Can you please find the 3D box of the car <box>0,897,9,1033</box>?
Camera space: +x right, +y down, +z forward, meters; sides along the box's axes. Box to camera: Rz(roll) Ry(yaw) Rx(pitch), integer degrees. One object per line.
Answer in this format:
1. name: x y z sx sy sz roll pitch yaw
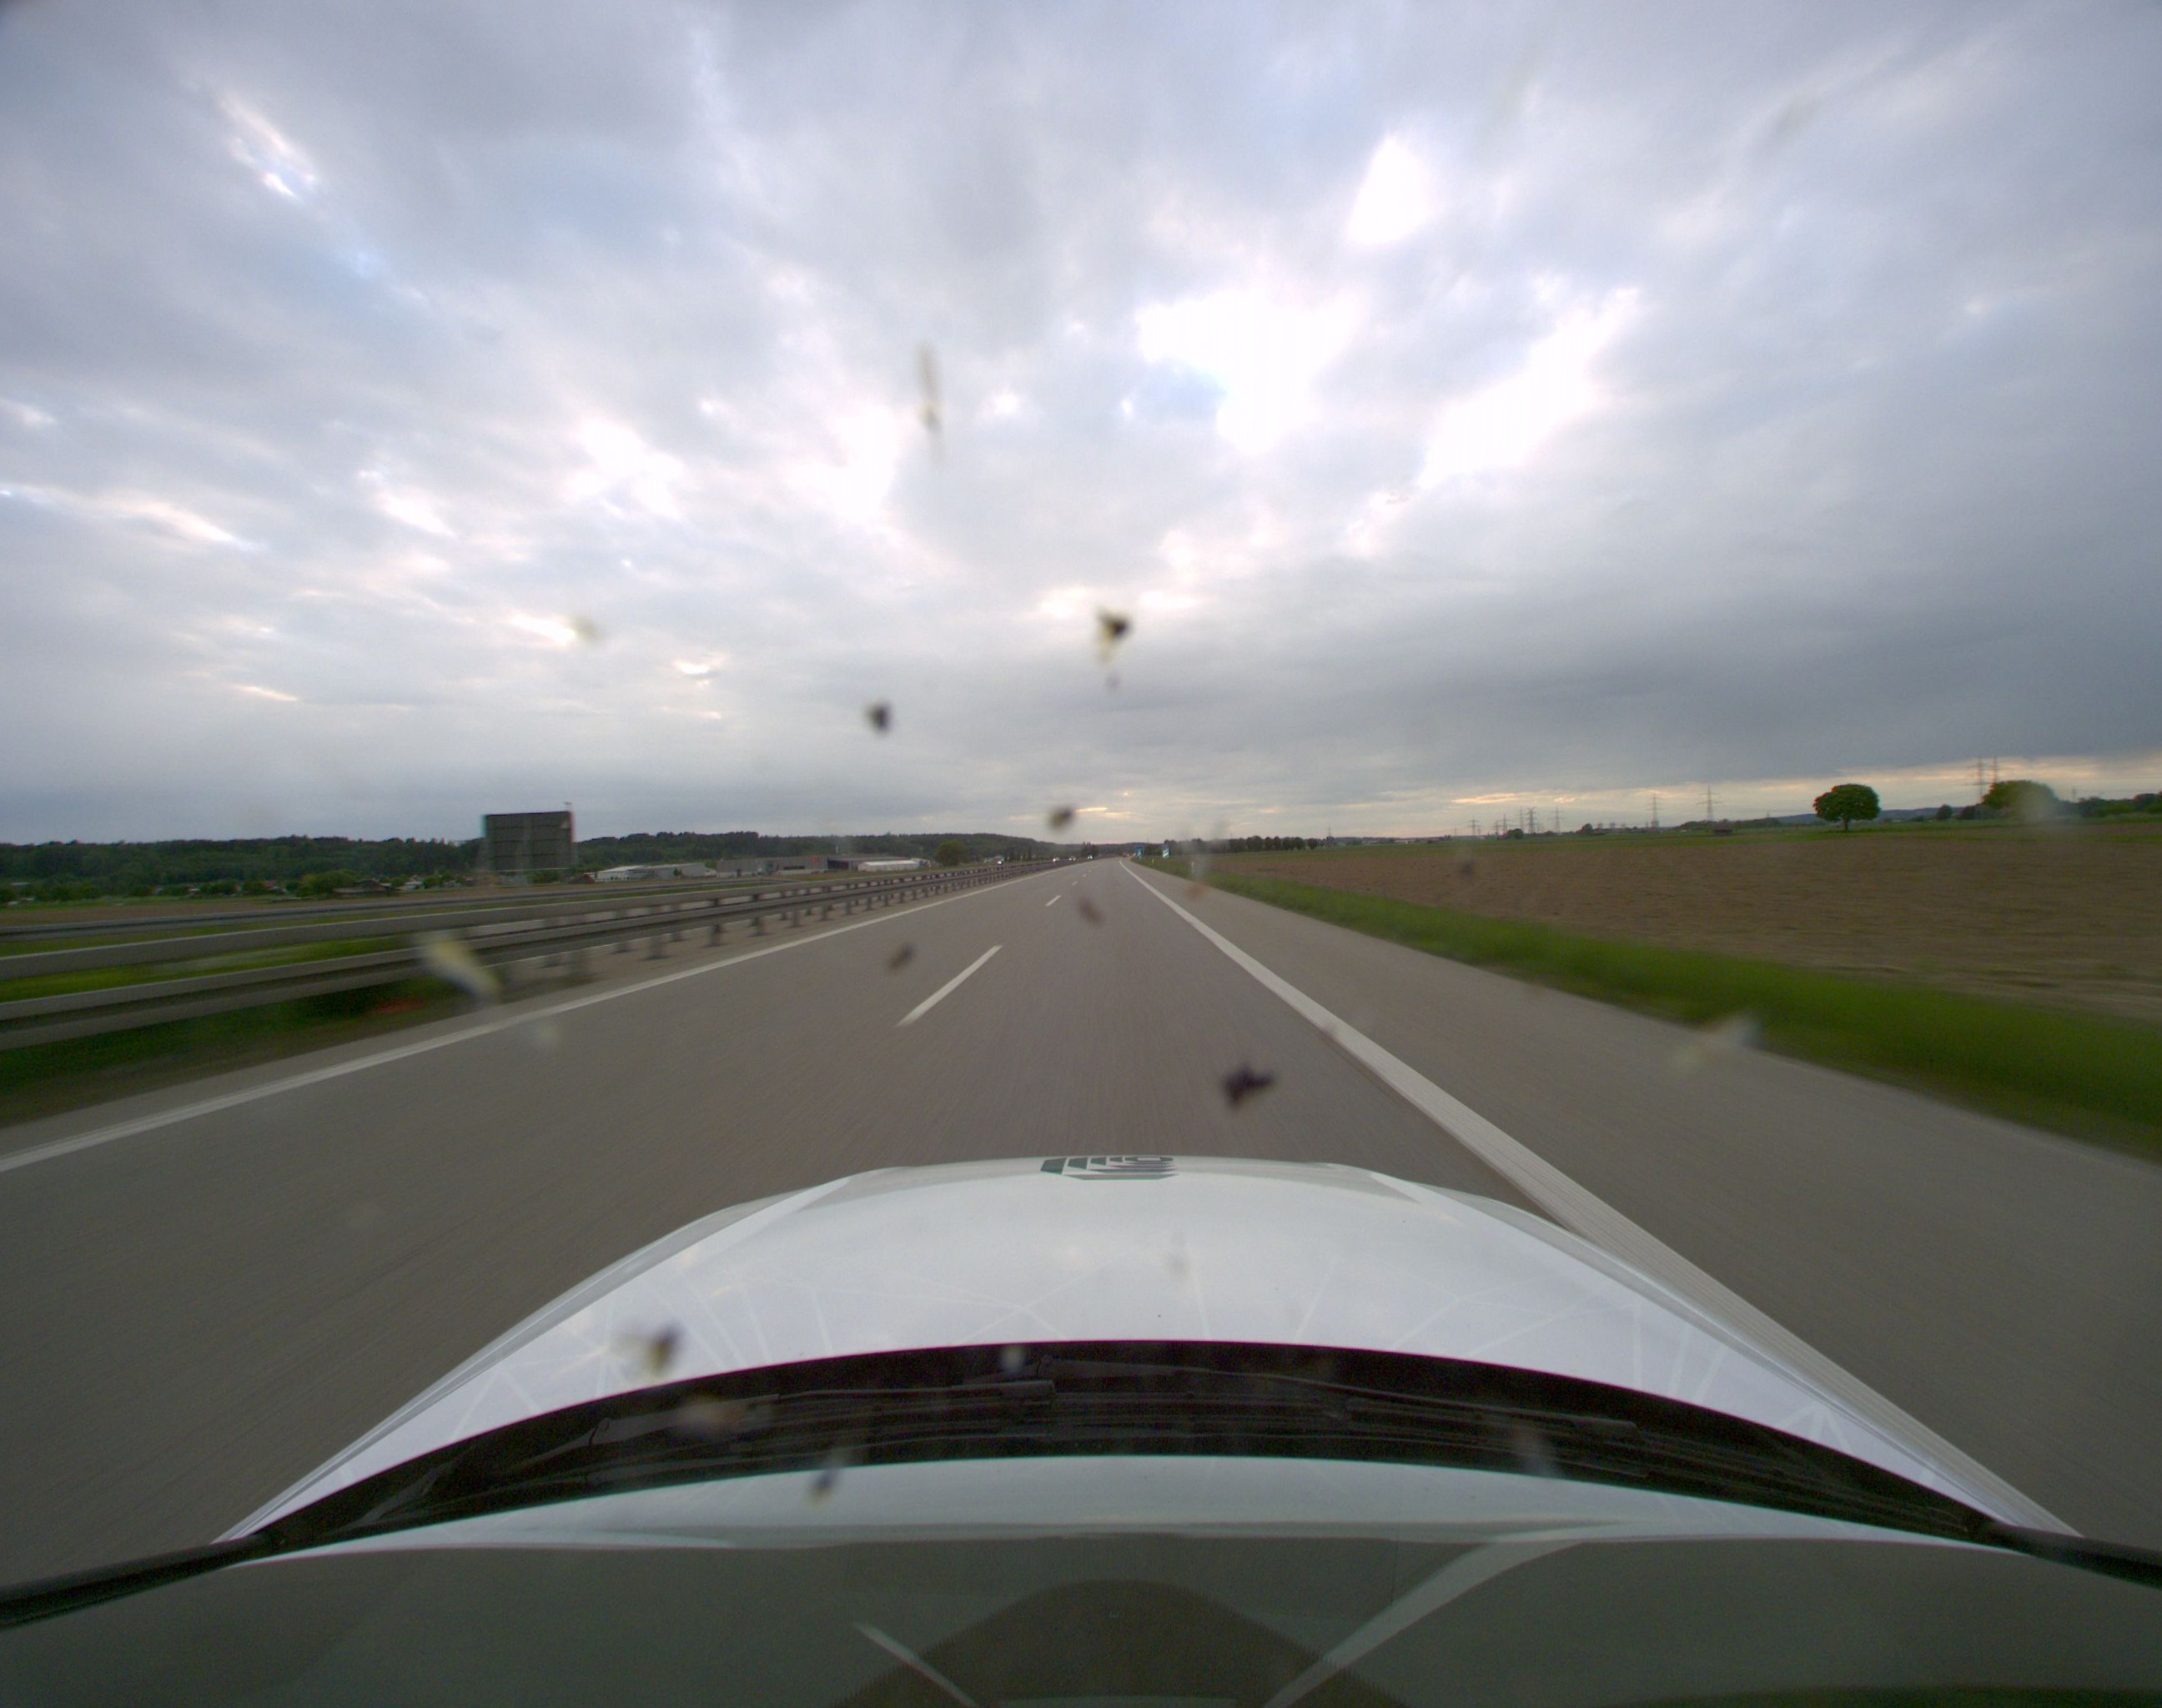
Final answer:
1. car: -13.510 1.278 7.119 1.734 1.574 4.858 0 0 2
